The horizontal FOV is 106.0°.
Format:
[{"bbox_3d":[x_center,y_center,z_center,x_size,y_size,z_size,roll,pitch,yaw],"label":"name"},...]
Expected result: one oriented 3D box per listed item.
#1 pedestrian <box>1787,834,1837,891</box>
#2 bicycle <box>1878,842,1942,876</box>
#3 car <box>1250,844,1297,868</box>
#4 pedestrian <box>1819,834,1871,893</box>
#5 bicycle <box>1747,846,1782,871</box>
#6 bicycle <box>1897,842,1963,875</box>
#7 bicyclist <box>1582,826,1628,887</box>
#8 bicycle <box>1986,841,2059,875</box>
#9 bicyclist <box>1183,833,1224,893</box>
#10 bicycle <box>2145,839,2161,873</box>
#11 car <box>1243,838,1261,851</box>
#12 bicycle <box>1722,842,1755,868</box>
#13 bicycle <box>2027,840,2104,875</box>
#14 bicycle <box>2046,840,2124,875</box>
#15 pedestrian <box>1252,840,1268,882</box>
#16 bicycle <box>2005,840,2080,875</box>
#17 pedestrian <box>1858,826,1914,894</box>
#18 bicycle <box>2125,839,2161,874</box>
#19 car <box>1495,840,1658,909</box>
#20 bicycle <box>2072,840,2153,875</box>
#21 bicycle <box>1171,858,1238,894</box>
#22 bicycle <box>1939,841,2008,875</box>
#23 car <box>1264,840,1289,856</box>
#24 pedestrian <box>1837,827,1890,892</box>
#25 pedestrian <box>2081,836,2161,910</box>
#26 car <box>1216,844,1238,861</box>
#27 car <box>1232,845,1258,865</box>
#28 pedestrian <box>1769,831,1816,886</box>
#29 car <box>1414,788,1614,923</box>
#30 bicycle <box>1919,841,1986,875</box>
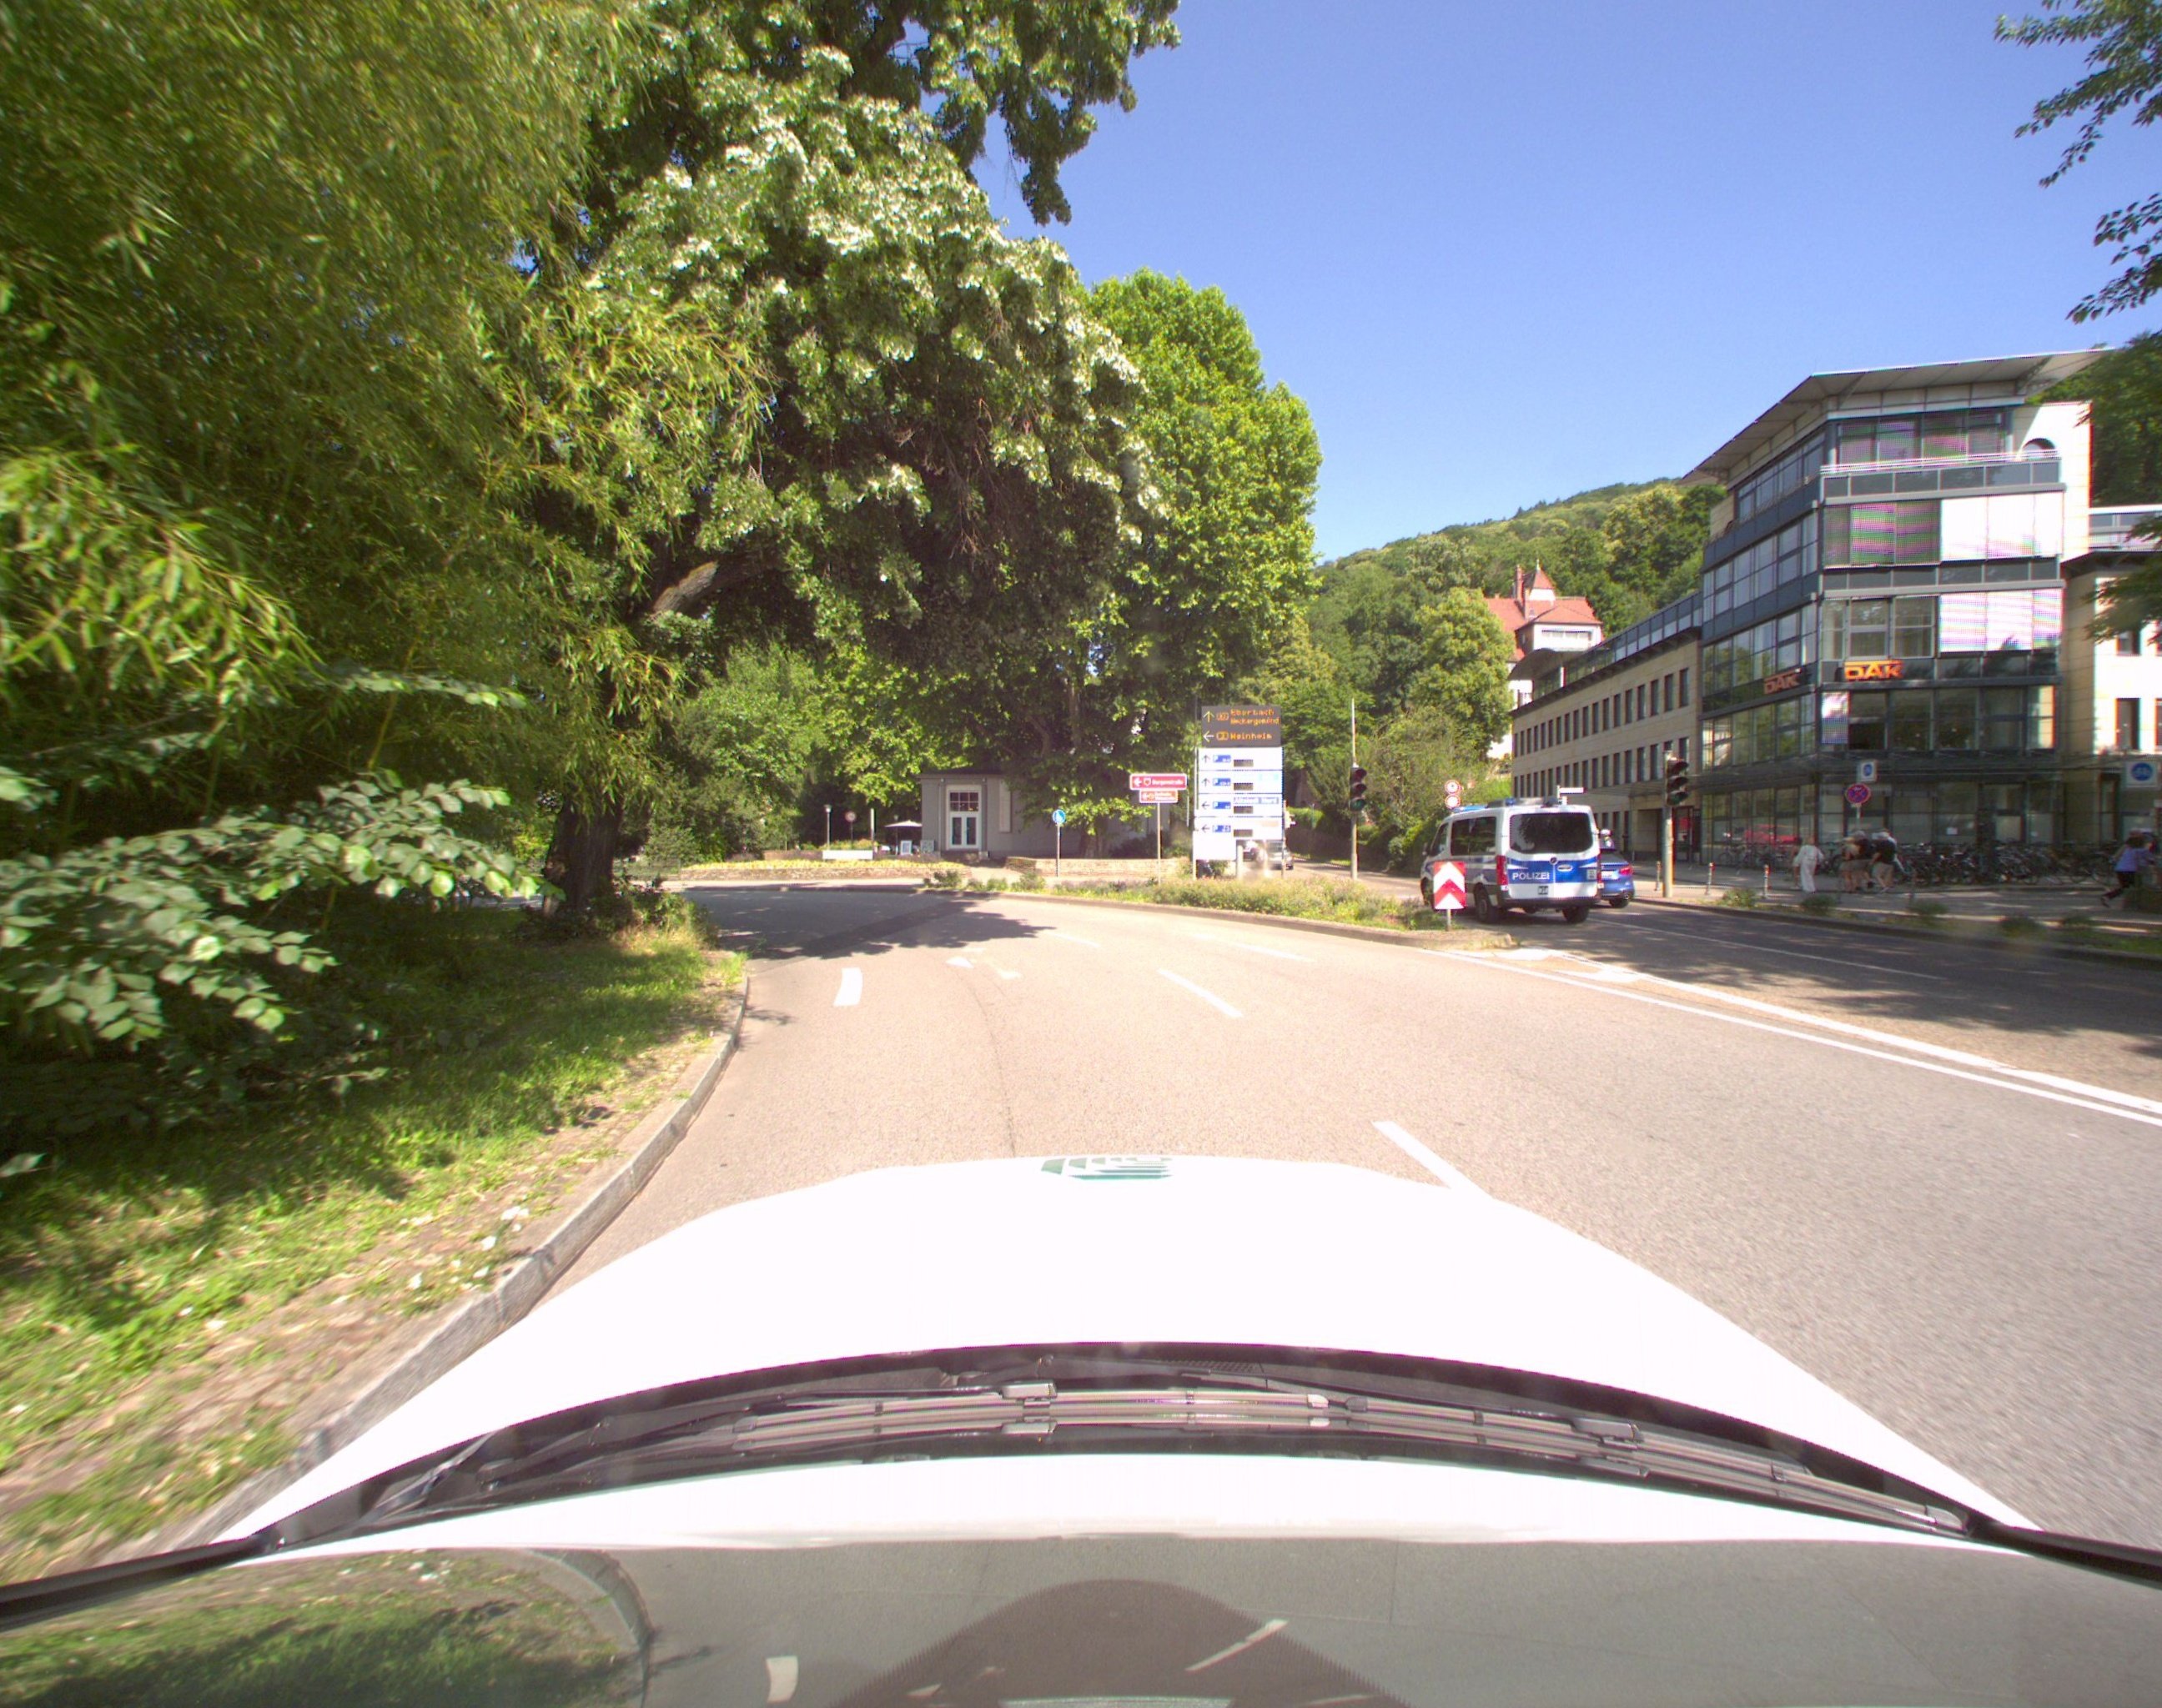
[{"bbox_3d":[21.449,0.240,23.906,0.766,1.662,0.831,0,0,9],"label":"pedestrian"},{"bbox_3d":[27.821,0.144,27.374,0.534,1.085,1.840,-1,1,10],"label":"bicycle"},{"bbox_3d":[11.317,0.086,48.057,1.751,1.334,3.799,0,1,-2],"label":"car"},{"bbox_3d":[21.900,0.263,23.350,0.765,1.662,0.832,0,0,13],"label":"pedestrian"},{"bbox_3d":[26.519,0.175,31.618,0.403,0.941,1.344,-1,1,9],"label":"bicycle"},{"bbox_3d":[28.361,0.138,27.235,0.534,1.085,1.840,-1,1,10],"label":"bicycle"},{"bbox_3d":[16.855,0.069,26.214,1.116,1.932,0.752,0,0,21],"label":"bicyclist"},{"bbox_3d":[30.831,0.112,26.716,0.534,1.085,1.840,-1,1,10],"label":"bicycle"},{"bbox_3d":[4.024,0.295,26.709,1.115,1.932,0.753,0,0,33],"label":"bicyclist"},{"bbox_3d":[35.044,0.068,25.801,0.534,1.085,1.840,-1,1,10],"label":"bicycle"},{"bbox_3d":[19.913,-1.085,95.012,1.746,1.461,3.654,0,1,8],"label":"car"},{"bbox_3d":[26.729,0.020,33.119,0.403,1.012,1.344,-1,1,9],"label":"bicycle"},{"bbox_3d":[32.059,0.099,26.550,0.534,1.085,1.840,-1,1,10],"label":"bicycle"},{"bbox_3d":[32.637,0.093,26.503,0.534,1.085,1.840,-1,1,10],"label":"bicycle"},{"bbox_3d":[7.068,0.278,32.074,0.542,1.621,0.637,-1,1,17],"label":"pedestrian"},{"bbox_3d":[31.421,0.106,26.639,0.534,1.085,1.840,-1,1,10],"label":"bicycle"},{"bbox_3d":[22.502,0.162,22.774,0.766,1.854,0.832,0,0,11],"label":"pedestrian"},{"bbox_3d":[34.439,0.075,25.828,0.534,1.085,1.840,-1,1,10],"label":"bicycle"},{"bbox_3d":[12.342,0.424,20.644,1.712,1.541,4.276,1,1,3],"label":"car"},{"bbox_3d":[33.176,0.088,26.219,0.534,1.085,1.840,-1,1,10],"label":"bicycle"},{"bbox_3d":[4.046,0.706,26.700,2.056,1.112,0.762,0,1,33],"label":"bicycle"},{"bbox_3d":[29.576,0.125,27.028,0.534,1.085,1.840,-1,1,10],"label":"bicycle"},{"bbox_3d":[16.058,-0.509,67.039,1.746,1.213,3.502,0,1,8],"label":"car"},{"bbox_3d":[22.667,0.148,23.605,0.766,1.854,0.832,0,0,11],"label":"pedestrian"},{"bbox_3d":[23.087,0.402,17.930,1.110,1.580,0.745,-1,0,21],"label":"pedestrian"},{"bbox_3d":[13.178,-0.157,73.644,1.746,1.461,3.654,0,1,8],"label":"car"},{"bbox_3d":[12.422,0.058,61.995,1.746,1.461,3.502,0,1,8],"label":"car"},{"bbox_3d":[21.830,0.133,24.997,0.766,1.662,0.832,0,0,11],"label":"pedestrian"},{"bbox_3d":[9.110,0.007,17.699,2.063,2.508,4.936,0,0,5],"label":"car"},{"bbox_3d":[28.991,0.132,27.120,0.534,1.085,1.840,-1,1,10],"label":"bicycle"}]
